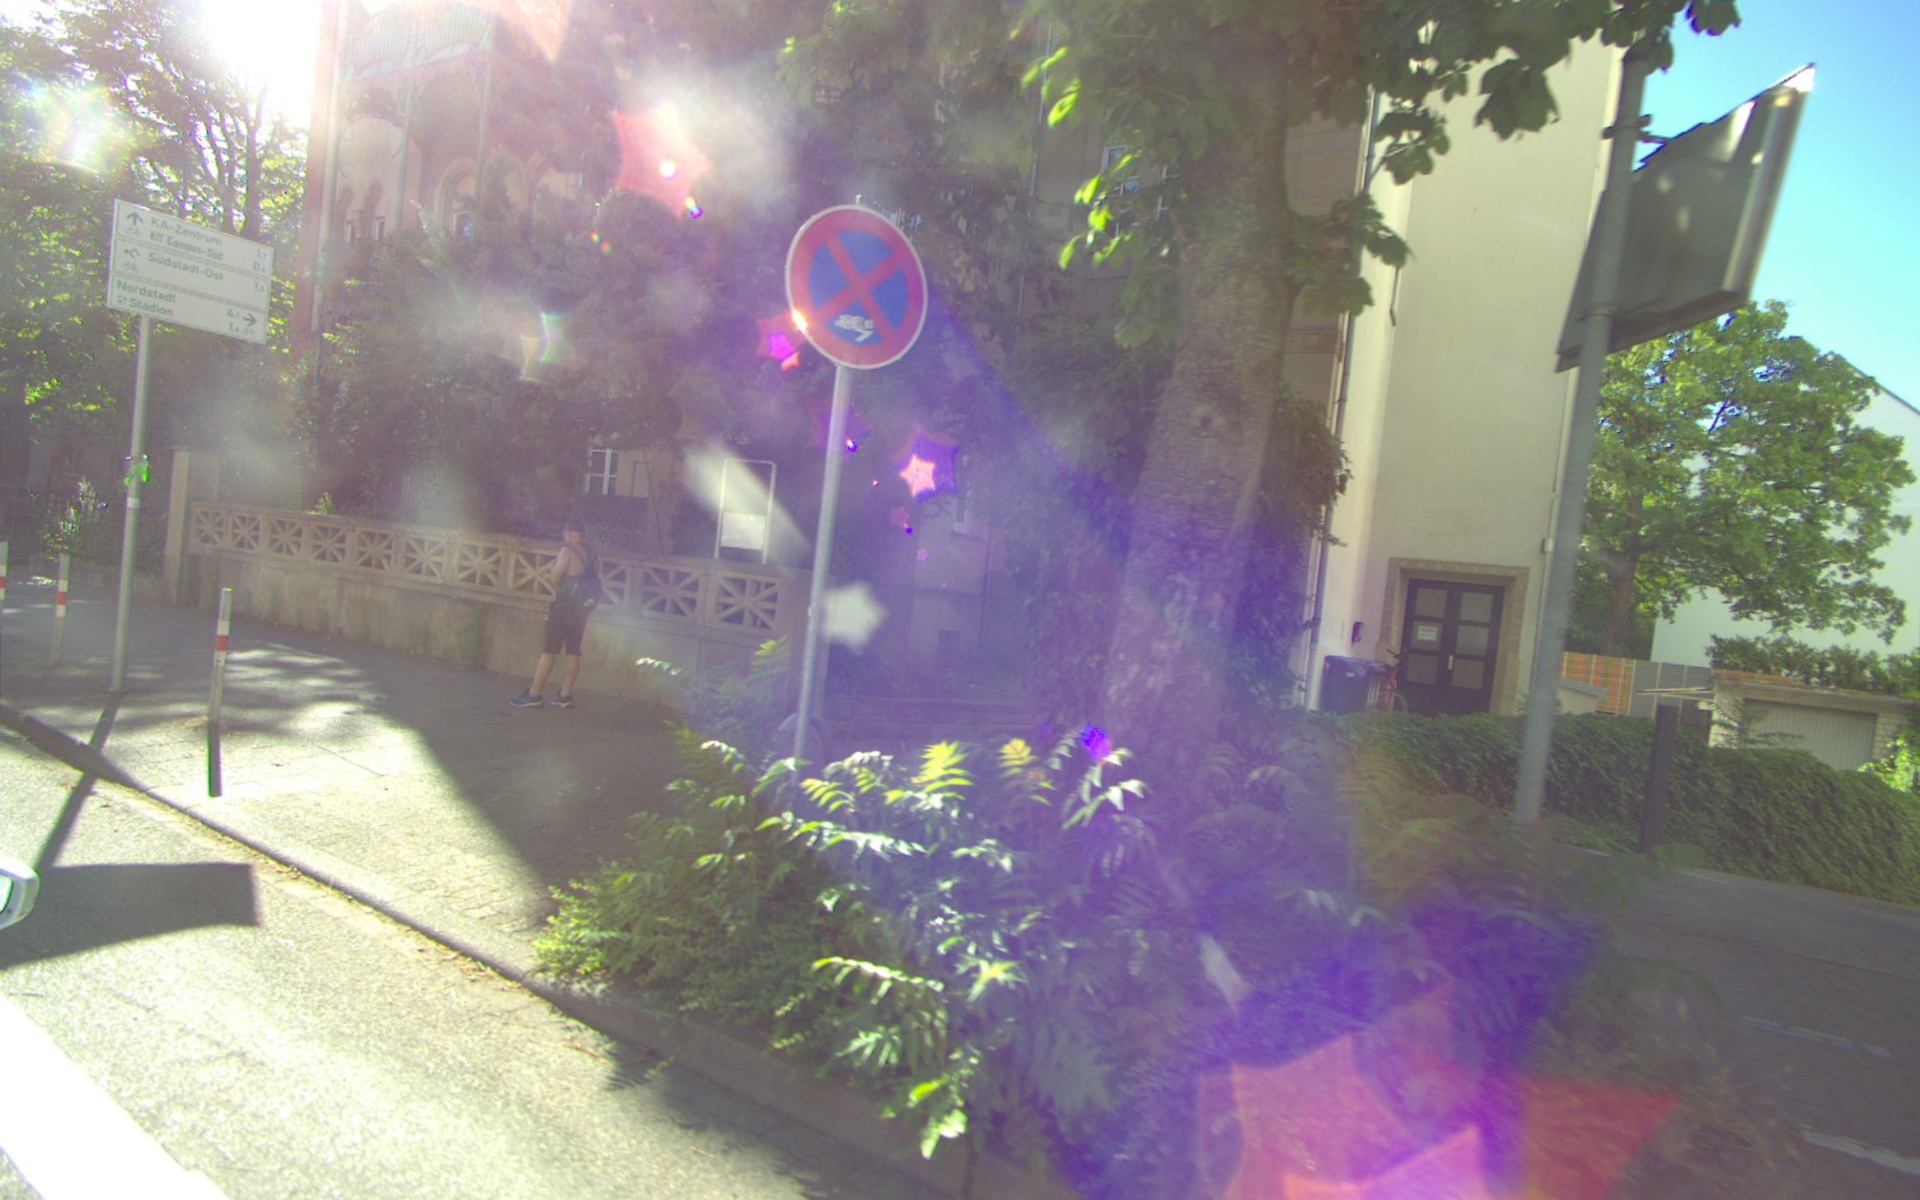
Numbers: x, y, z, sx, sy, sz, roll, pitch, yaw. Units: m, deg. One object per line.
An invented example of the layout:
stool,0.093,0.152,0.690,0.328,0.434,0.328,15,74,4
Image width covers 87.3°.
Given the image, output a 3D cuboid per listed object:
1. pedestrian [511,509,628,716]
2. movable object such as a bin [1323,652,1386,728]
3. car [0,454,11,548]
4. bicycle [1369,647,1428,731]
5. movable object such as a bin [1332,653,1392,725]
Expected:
pedestrian,-3.400,0.103,8.767,0.636,1.694,0.592,6,3,30
movable object such as a bin,5.588,1.261,14.227,0.637,0.966,0.835,6,0,29
car,-23.319,-2.449,21.665,2.094,2.235,4.926,6,-1,-18
bicycle,6.929,1.375,15.965,0.428,1.214,1.700,6,-1,13
movable object such as a bin,5.994,1.322,14.995,0.637,0.966,0.835,6,0,29
